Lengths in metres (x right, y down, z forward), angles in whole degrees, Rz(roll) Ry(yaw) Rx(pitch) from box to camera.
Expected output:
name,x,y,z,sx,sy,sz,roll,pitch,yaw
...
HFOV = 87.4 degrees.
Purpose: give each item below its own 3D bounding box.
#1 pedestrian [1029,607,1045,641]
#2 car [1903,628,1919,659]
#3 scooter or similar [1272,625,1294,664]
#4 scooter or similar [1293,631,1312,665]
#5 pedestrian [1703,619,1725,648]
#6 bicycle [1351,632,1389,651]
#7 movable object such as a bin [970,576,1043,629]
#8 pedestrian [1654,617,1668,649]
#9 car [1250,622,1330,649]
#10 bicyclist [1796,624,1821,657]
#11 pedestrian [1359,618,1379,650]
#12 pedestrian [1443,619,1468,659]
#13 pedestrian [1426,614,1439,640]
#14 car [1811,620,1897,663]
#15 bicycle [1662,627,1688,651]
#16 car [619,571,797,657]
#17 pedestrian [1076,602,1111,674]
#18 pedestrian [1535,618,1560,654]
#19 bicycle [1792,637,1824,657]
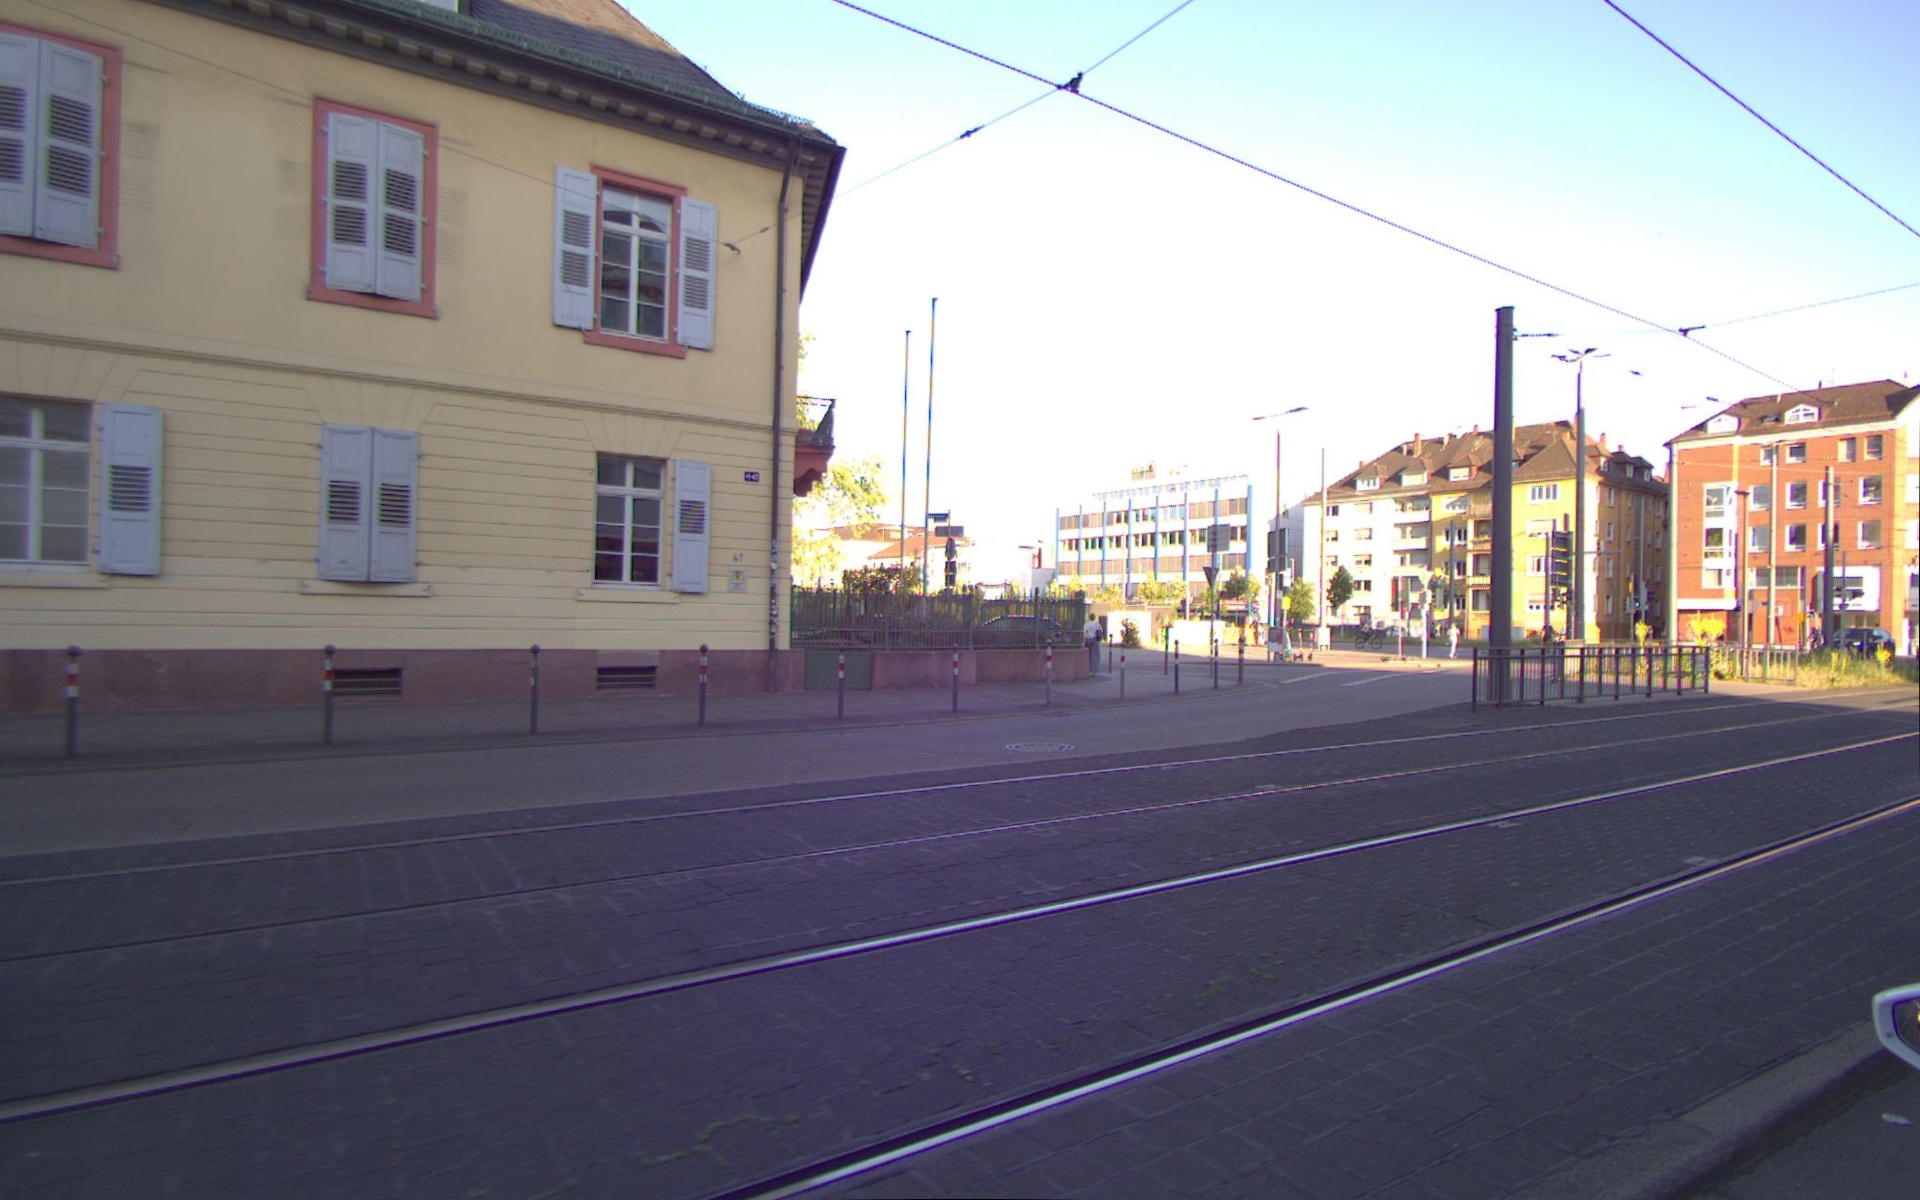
name,x,y,z,sx,sy,sz,roll,pitch,yaw
pedestrian,3.843,1.210,49.899,0.527,1.681,0.597,0,-1,39
car,52.149,2.323,53.407,4.540,1.606,1.981,2,-1,-34
scooter or similar,12.382,1.700,38.539,0.507,1.465,1.257,1,-1,5
scooter or similar,13.148,1.837,38.590,0.507,1.289,1.257,1,-1,11
pedestrian,50.847,2.227,67.749,0.832,1.893,0.932,1,1,-40
bicycle,25.055,2.536,61.408,0.888,1.074,1.985,2,-1,-42
movable object such as a bin,2.977,0.180,64.416,4.274,3.272,1.993,1,-1,-17
pedestrian,41.688,1.955,59.738,0.557,1.893,0.498,1,1,-37
car,21.149,2.246,64.424,4.492,1.639,1.993,0,-1,37
bicyclist,44.691,2.128,52.893,0.966,1.711,0.660,1,-1,-24
pedestrian,25.017,2.082,61.437,0.888,1.936,0.836,1,0,-42
pedestrian,23.897,1.850,48.432,0.871,1.893,0.972,0,-1,38
pedestrian,34.892,2.000,74.176,0.710,1.893,0.881,0,-1,39
car,42.493,1.943,47.724,4.762,1.926,1.981,2,-1,-34
bicycle,42.326,2.312,59.480,1.996,1.343,0.613,1,1,-36
car,-8.270,0.475,33.310,5.317,2.665,2.099,1,-1,2
pedestrian,3.623,1.019,27.372,0.751,1.918,0.728,1,-1,-8
pedestrian,33.315,2.046,56.981,1.083,1.970,1.020,0,-1,40
bicycle,44.649,2.493,52.872,1.601,1.022,0.664,1,-1,-25
